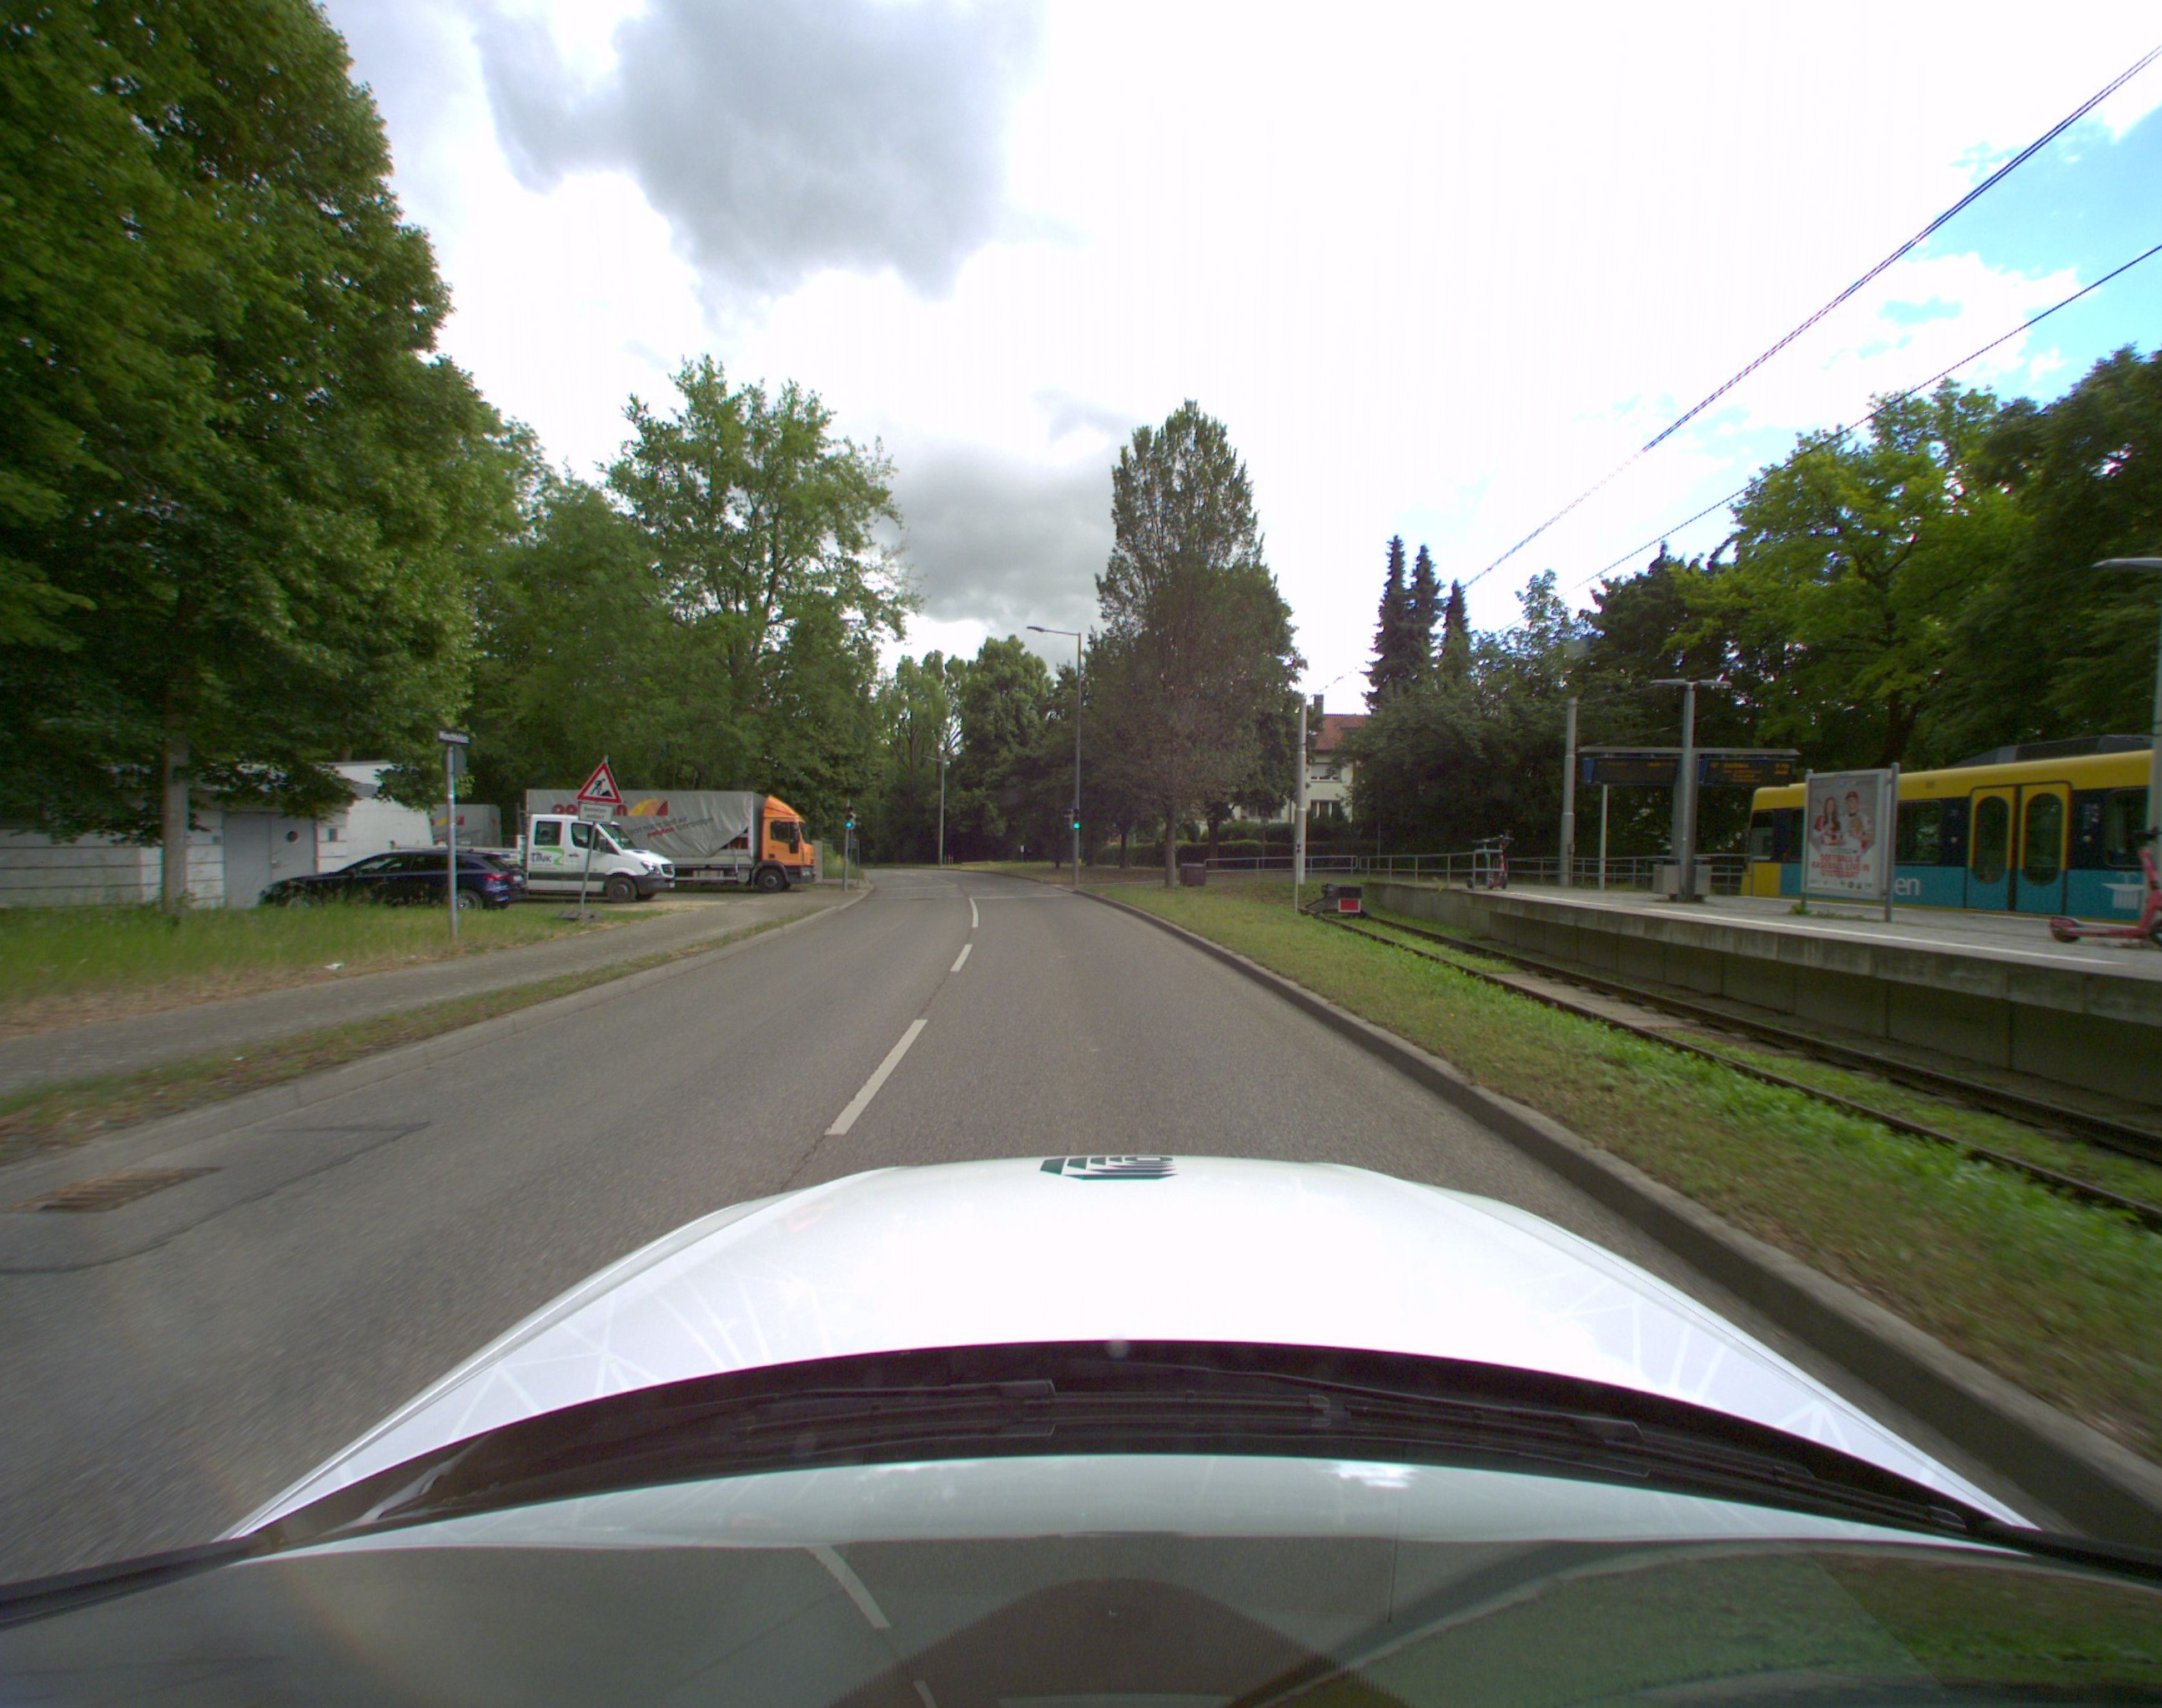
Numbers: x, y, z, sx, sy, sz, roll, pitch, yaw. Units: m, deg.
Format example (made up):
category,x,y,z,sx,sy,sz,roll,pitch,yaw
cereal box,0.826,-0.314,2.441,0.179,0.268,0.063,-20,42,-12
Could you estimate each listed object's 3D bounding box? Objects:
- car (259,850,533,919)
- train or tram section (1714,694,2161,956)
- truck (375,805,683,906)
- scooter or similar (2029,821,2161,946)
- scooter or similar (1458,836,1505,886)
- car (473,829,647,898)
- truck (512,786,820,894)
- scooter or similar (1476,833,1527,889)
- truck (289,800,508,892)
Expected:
category,x,y,z,sx,sy,sz,roll,pitch,yaw
car,-14.185,0.644,17.164,3.998,1.327,1.706,1,-2,-19
train or tram section,16.076,-0.338,9.779,2.801,3.588,19.534,2,1,4
truck,-14.483,0.103,21.853,6.392,2.416,2.114,2,-1,-13
scooter or similar,10.936,0.289,8.674,0.366,1.242,1.147,0,1,3
scooter or similar,10.346,0.177,21.058,0.429,1.253,1.251,0,-1,-9
car,-15.635,0.292,24.663,3.990,1.909,1.774,2,0,-13
truck,-14.242,-0.417,28.731,9.233,3.531,2.556,1,-1,-11
scooter or similar,9.658,0.166,18.748,0.429,1.253,1.252,0,-1,-5
truck,-25.589,-0.347,30.952,5.930,3.199,2.432,-1,2,-28
